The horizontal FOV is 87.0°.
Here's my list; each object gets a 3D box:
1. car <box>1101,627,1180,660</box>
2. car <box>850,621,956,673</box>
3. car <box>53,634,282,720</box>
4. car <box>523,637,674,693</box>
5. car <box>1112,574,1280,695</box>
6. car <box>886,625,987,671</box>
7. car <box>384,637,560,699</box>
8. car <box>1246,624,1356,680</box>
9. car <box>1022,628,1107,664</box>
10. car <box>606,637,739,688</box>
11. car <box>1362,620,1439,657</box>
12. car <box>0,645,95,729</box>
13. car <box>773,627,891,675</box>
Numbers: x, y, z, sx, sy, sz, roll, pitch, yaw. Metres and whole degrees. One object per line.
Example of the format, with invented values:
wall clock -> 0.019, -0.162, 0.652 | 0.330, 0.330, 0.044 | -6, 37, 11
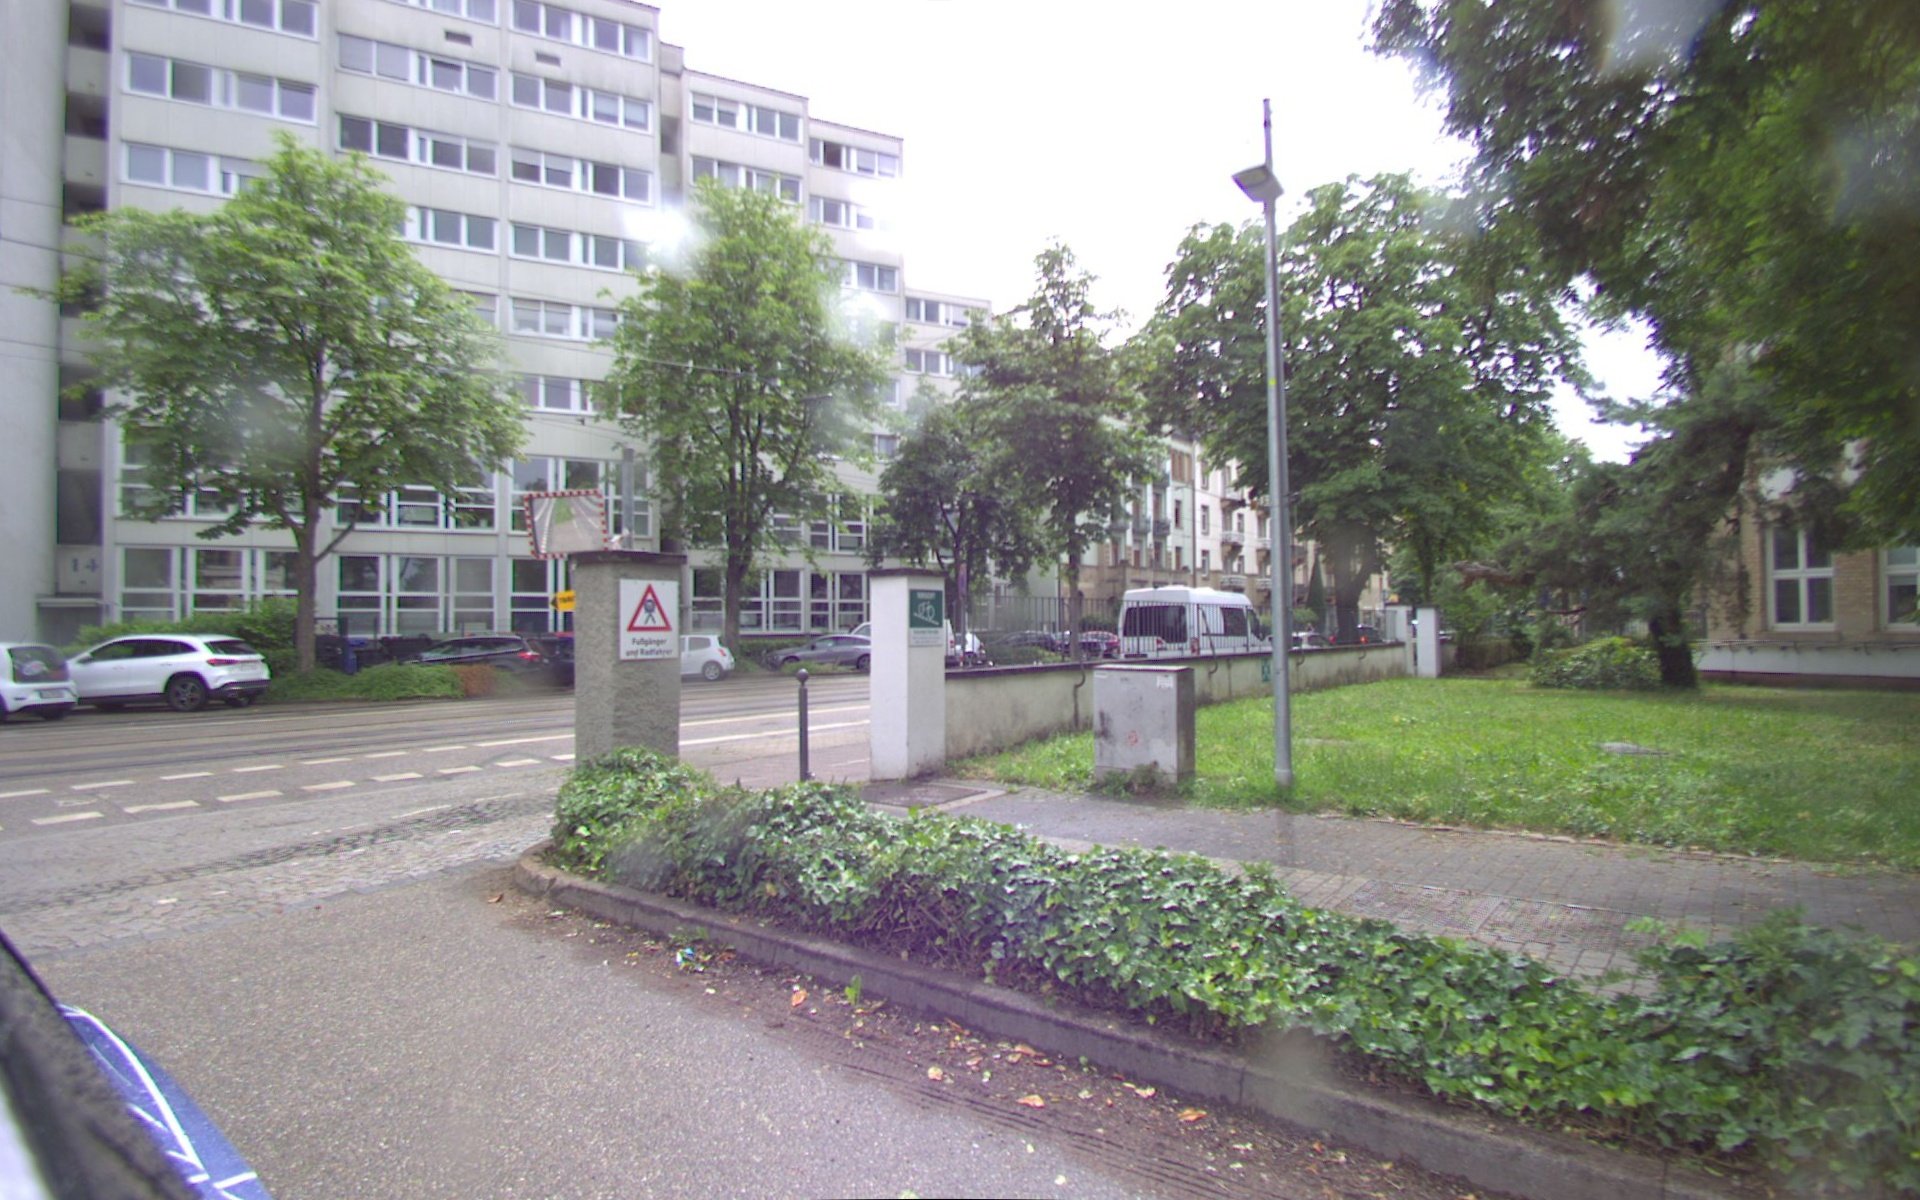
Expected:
car -> 9.724, 2.361, 54.765 | 3.828, 1.687, 1.753 | 0, -3, -5
car -> -2.255, 1.835, 39.389 | 4.022, 1.947, 1.792 | 0, -3, -5
car -> -16.337, 1.571, 21.018 | 3.337, 1.615, 1.710 | -1, -3, -6
car -> -10.213, 1.834, 28.797 | 3.722, 1.517, 1.792 | 0, -3, -5
car -> 5.799, 0.867, 24.403 | 2.091, 2.601, 5.018 | -3, -4, 36
car -> -0.995, 1.973, 41.760 | 4.022, 1.820, 1.792 | 0, -3, -5
car -> -12.606, 1.746, 26.348 | 3.722, 1.517, 1.792 | 0, -3, -5
car -> 10.144, 1.525, 29.932 | 1.909, 1.534, 4.091 | -3, -4, 37
car -> 5.076, 2.245, 49.551 | 3.828, 1.687, 1.753 | 0, -3, -5
car -> -8.882, 1.946, 31.515 | 3.722, 1.517, 1.792 | 0, -3, -5
car -> 17.442, 1.549, 40.004 | 1.909, 1.400, 4.091 | -3, -4, 37
car -> -18.058, 1.580, 18.274 | 3.337, 1.456, 1.656 | -1, -3, -6
car -> -4.693, 1.856, 36.871 | 4.015, 1.663, 1.795 | 0, -3, -16
